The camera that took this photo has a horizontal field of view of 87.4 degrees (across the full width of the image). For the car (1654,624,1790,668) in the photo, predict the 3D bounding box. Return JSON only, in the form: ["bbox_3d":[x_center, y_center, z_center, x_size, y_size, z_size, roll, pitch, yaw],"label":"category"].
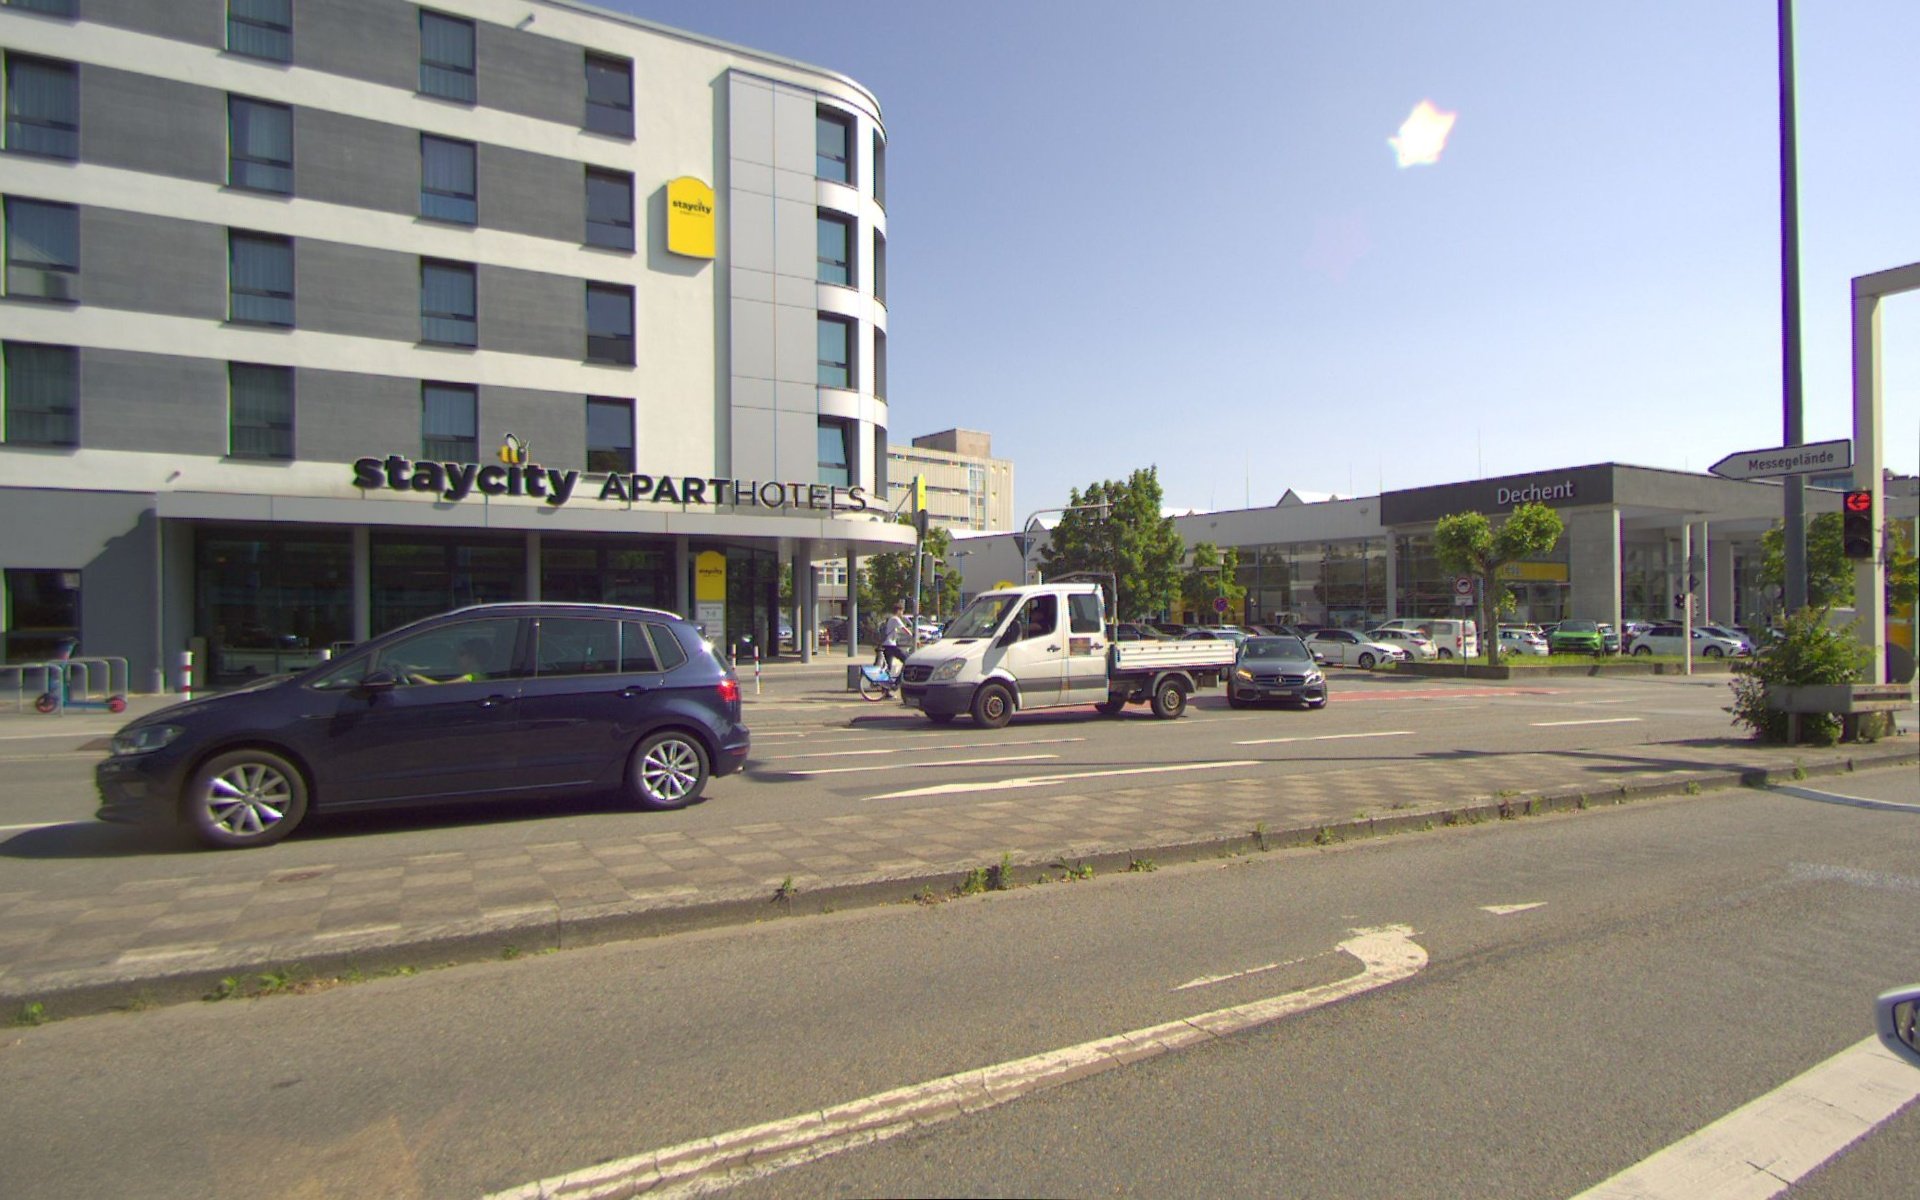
[{"bbox_3d":[32.842,1.929,43.397,1.978,1.789,4.274,1,-2,-32],"label":"car"}]

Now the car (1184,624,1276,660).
[{"bbox_3d":[13.788,2.124,51.428,1.980,1.719,4.328,1,-2,-35],"label":"car"}]

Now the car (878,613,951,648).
[{"bbox_3d":[-2.744,1.783,59.241,1.971,1.815,4.376,2,0,-42],"label":"car"}]

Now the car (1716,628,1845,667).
[{"bbox_3d":[38.816,2.218,47.623,1.978,1.719,4.333,1,-2,-32],"label":"car"}]

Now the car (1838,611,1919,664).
[{"bbox_3d":[49.079,1.935,52.383,2.096,2.720,4.490,1,-1,-21],"label":"car"}]

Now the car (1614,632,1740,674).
[{"bbox_3d":[30.263,2.211,42.507,1.981,1.620,3.959,1,-2,-36],"label":"car"}]

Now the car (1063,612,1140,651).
[{"bbox_3d":[7.747,1.700,55.294,1.983,2.040,3.956,1,-2,-38],"label":"car"}]

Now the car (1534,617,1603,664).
[{"bbox_3d":[23.984,1.610,39.708,1.870,1.756,3.293,0,-3,23],"label":"car"}]

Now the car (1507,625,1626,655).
[{"bbox_3d":[27.857,1.837,46.257,1.982,1.284,4.325,4,-4,-37],"label":"car"}]

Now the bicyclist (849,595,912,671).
[{"bbox_3d":[-1.596,0.658,20.172,1.018,1.479,0.761,1,-2,-40],"label":"bicyclist"}]

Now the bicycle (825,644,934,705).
[{"bbox_3d":[-1.586,1.463,20.144,2.144,1.131,0.761,2,-2,-40],"label":"bicycle"}]

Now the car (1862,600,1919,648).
[{"bbox_3d":[53.228,1.350,55.745,1.973,2.635,4.345,1,-1,-24],"label":"car"}]

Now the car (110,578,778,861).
[{"bbox_3d":[-3.665,0.771,7.729,4.088,1.639,1.876,1,-3,-32],"label":"car"}]

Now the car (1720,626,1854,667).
[{"bbox_3d":[37.430,2.078,45.584,1.978,1.719,4.333,1,-1,-32],"label":"car"}]

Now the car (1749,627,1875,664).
[{"bbox_3d":[41.595,2.183,49.128,1.978,1.719,4.333,1,-2,-32],"label":"car"}]

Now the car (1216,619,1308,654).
[{"bbox_3d":[15.803,1.886,52.684,1.982,1.719,4.324,1,-2,-37],"label":"car"}]

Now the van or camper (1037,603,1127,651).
[{"bbox_3d":[6.395,1.423,52.989,1.983,2.432,4.678,1,-2,-38],"label":"van or camper"}]

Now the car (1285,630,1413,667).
[{"bbox_3d":[15.069,1.841,39.112,1.980,1.317,4.328,1,-2,-35],"label":"car"}]

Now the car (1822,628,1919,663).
[{"bbox_3d":[47.009,2.290,51.116,1.973,1.719,4.345,1,-2,-24],"label":"car"}]

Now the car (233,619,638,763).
[{"bbox_3d":[-6.662,1.085,13.134,4.360,1.598,1.985,1,-2,-30],"label":"car"}]

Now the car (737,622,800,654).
[{"bbox_3d":[-10.940,2.137,57.277,1.981,1.611,3.958,2,0,-37],"label":"car"}]

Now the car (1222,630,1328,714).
[{"bbox_3d":[6.764,1.428,21.352,1.923,1.446,4.585,1,0,20],"label":"car"}]

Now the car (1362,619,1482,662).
[{"bbox_3d":[19.840,1.704,43.304,1.982,1.719,4.323,1,-2,-38],"label":"car"}]

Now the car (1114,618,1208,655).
[{"bbox_3d":[9.658,1.743,48.621,1.980,1.719,4.328,1,-2,-35],"label":"car"}]

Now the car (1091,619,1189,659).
[{"bbox_3d":[8.215,1.760,46.185,1.980,1.719,4.328,1,-2,-35],"label":"car"}]

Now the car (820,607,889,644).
[{"bbox_3d":[-6.710,1.605,63.511,1.985,2.158,4.565,2,0,-42],"label":"car"}]

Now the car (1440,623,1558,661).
[{"bbox_3d":[24.543,1.873,45.870,1.982,1.612,4.325,1,-2,-37],"label":"car"}]

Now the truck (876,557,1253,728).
[{"bbox_3d":[1.909,0.781,17.679,6.355,2.578,2.349,1,-4,-28],"label":"truck"}]

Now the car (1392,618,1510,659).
[{"bbox_3d":[21.798,1.690,44.704,1.982,1.719,4.323,1,-2,-38],"label":"car"}]

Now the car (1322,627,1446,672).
[{"bbox_3d":[17.400,1.990,41.389,1.980,1.719,4.328,1,-2,-35],"label":"car"}]

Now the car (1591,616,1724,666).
[{"bbox_3d":[27.342,1.576,39.484,1.978,1.862,3.849,1,-2,-32],"label":"car"}]

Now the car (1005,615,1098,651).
[{"bbox_3d":[4.556,1.629,50.235,4.304,1.719,1.991,-1,-2,39],"label":"car"}]

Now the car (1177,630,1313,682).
[{"bbox_3d":[8.716,1.679,30.974,1.759,1.457,3.880,1,-2,-33],"label":"car"}]
